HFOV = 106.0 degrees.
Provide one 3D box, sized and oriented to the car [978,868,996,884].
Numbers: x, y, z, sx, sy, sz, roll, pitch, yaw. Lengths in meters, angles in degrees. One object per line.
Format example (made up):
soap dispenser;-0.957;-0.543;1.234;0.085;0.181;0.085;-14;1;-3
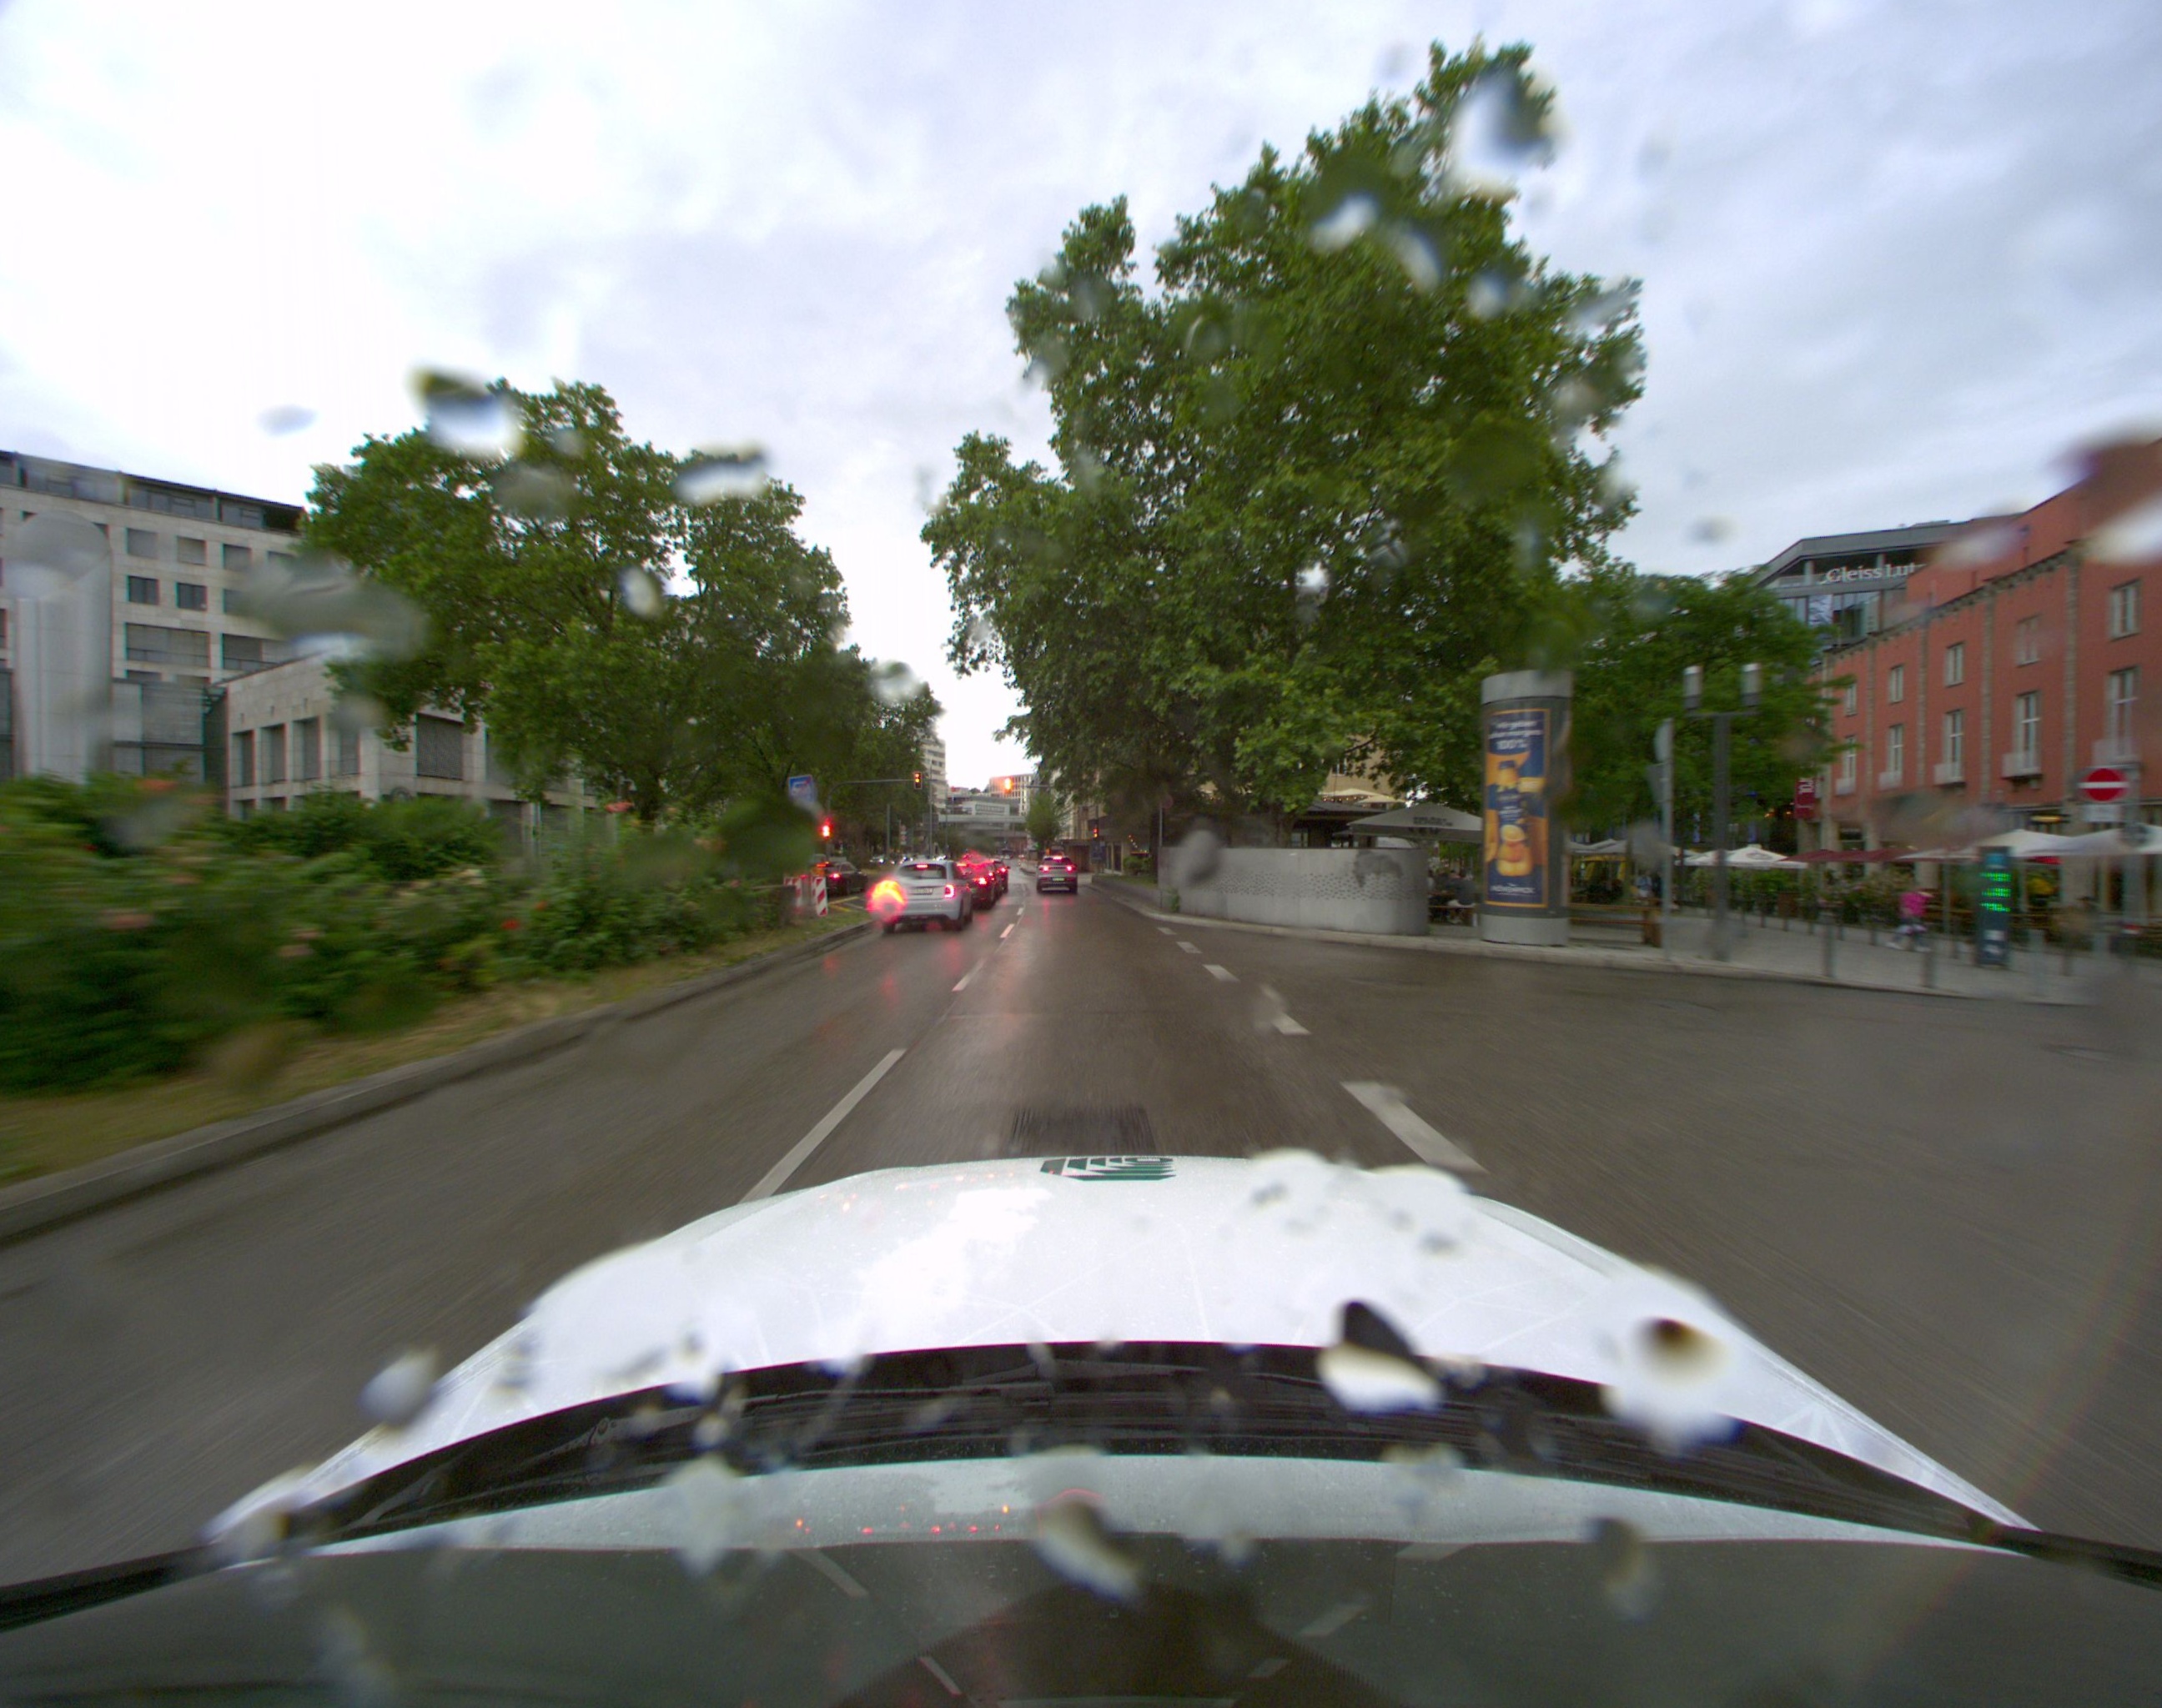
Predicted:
car;-9.273;2.128;80.631;1.689;1.463;4.337;-2;0;-5

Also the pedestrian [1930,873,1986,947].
pedestrian;21.725;1.370;20.179;0.587;1.780;0.748;1;0;8

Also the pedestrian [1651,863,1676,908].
pedestrian;23.928;1.283;33.457;0.623;1.832;0.612;2;-1;17

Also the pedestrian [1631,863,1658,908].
pedestrian;23.248;1.288;33.594;0.739;1.832;0.612;2;-1;17

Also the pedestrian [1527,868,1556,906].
pedestrian;15.842;1.134;28.020;0.626;1.250;0.610;2;-1;1

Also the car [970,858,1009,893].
car;-4.221;0.955;38.013;1.689;1.463;4.337;-2;0;-5

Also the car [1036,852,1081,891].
car;-1.060;0.773;37.625;1.942;1.666;4.341;1;0;-3

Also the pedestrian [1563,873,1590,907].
pedestrian;18.578;1.349;30.548;0.626;1.250;0.610;2;-1;1

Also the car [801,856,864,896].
car;-10.919;0.928;36.044;1.695;1.619;3.996;-1;0;-3

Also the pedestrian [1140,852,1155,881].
pedestrian;4.014;0.765;49.537;0.856;1.780;0.717;0;-1;0

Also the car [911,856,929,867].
car;-23.926;1.086;121.031;2.156;1.463;4.337;-2;0;-6

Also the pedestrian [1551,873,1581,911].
pedestrian;16.158;1.261;27.153;0.626;1.250;0.610;2;-1;1

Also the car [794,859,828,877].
car;-23.750;1.221;71.709;1.792;1.510;4.491;-2;0;-6

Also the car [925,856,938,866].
car;-25.463;1.202;138.829;1.792;1.510;4.491;-2;0;-6

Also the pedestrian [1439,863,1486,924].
pedestrian;9.188;0.944;19.640;0.682;1.410;0.905;2;-1;1

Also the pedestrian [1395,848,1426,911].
pedestrian;9.025;0.689;22.309;0.715;1.702;0.622;-1;-1;28

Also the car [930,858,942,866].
car;-28.308;1.475;158.824;1.792;1.510;4.491;-2;0;-6

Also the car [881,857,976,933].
car;-3.372;0.852;18.550;1.586;1.491;3.501;-2;0;-3

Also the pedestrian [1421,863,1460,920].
pedestrian;9.110;0.944;20.656;0.682;1.410;0.660;2;-1;1

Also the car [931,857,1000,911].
car;-3.519;0.869;25.448;1.687;1.463;4.125;-2;0;-3

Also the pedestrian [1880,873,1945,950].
pedestrian;20.233;1.373;19.828;0.688;1.780;0.876;1;0;8

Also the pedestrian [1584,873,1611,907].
pedestrian;19.606;1.349;30.918;0.626;1.250;0.610;2;-1;1

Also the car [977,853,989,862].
car;-17.149;0.670;142.508;1.976;1.463;4.336;-2;0;-6

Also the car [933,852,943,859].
car;-31.272;0.363;178.217;1.792;1.510;4.337;-2;0;-6

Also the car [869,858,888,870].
car;-27.522;1.370;110.840;1.792;1.510;4.491;-2;0;-6

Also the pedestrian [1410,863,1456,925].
pedestrian;8.464;0.947;19.619;0.682;1.410;0.905;2;-1;1

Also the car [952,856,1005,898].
car;-3.956;0.854;31.930;1.687;1.463;4.341;-2;0;-3

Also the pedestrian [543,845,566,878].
pedestrian;-32.191;0.458;49.791;0.784;2.013;0.945;2;0;-7

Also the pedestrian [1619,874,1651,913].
pedestrian;18.335;1.311;26.975;0.626;1.250;0.610;2;-1;1
